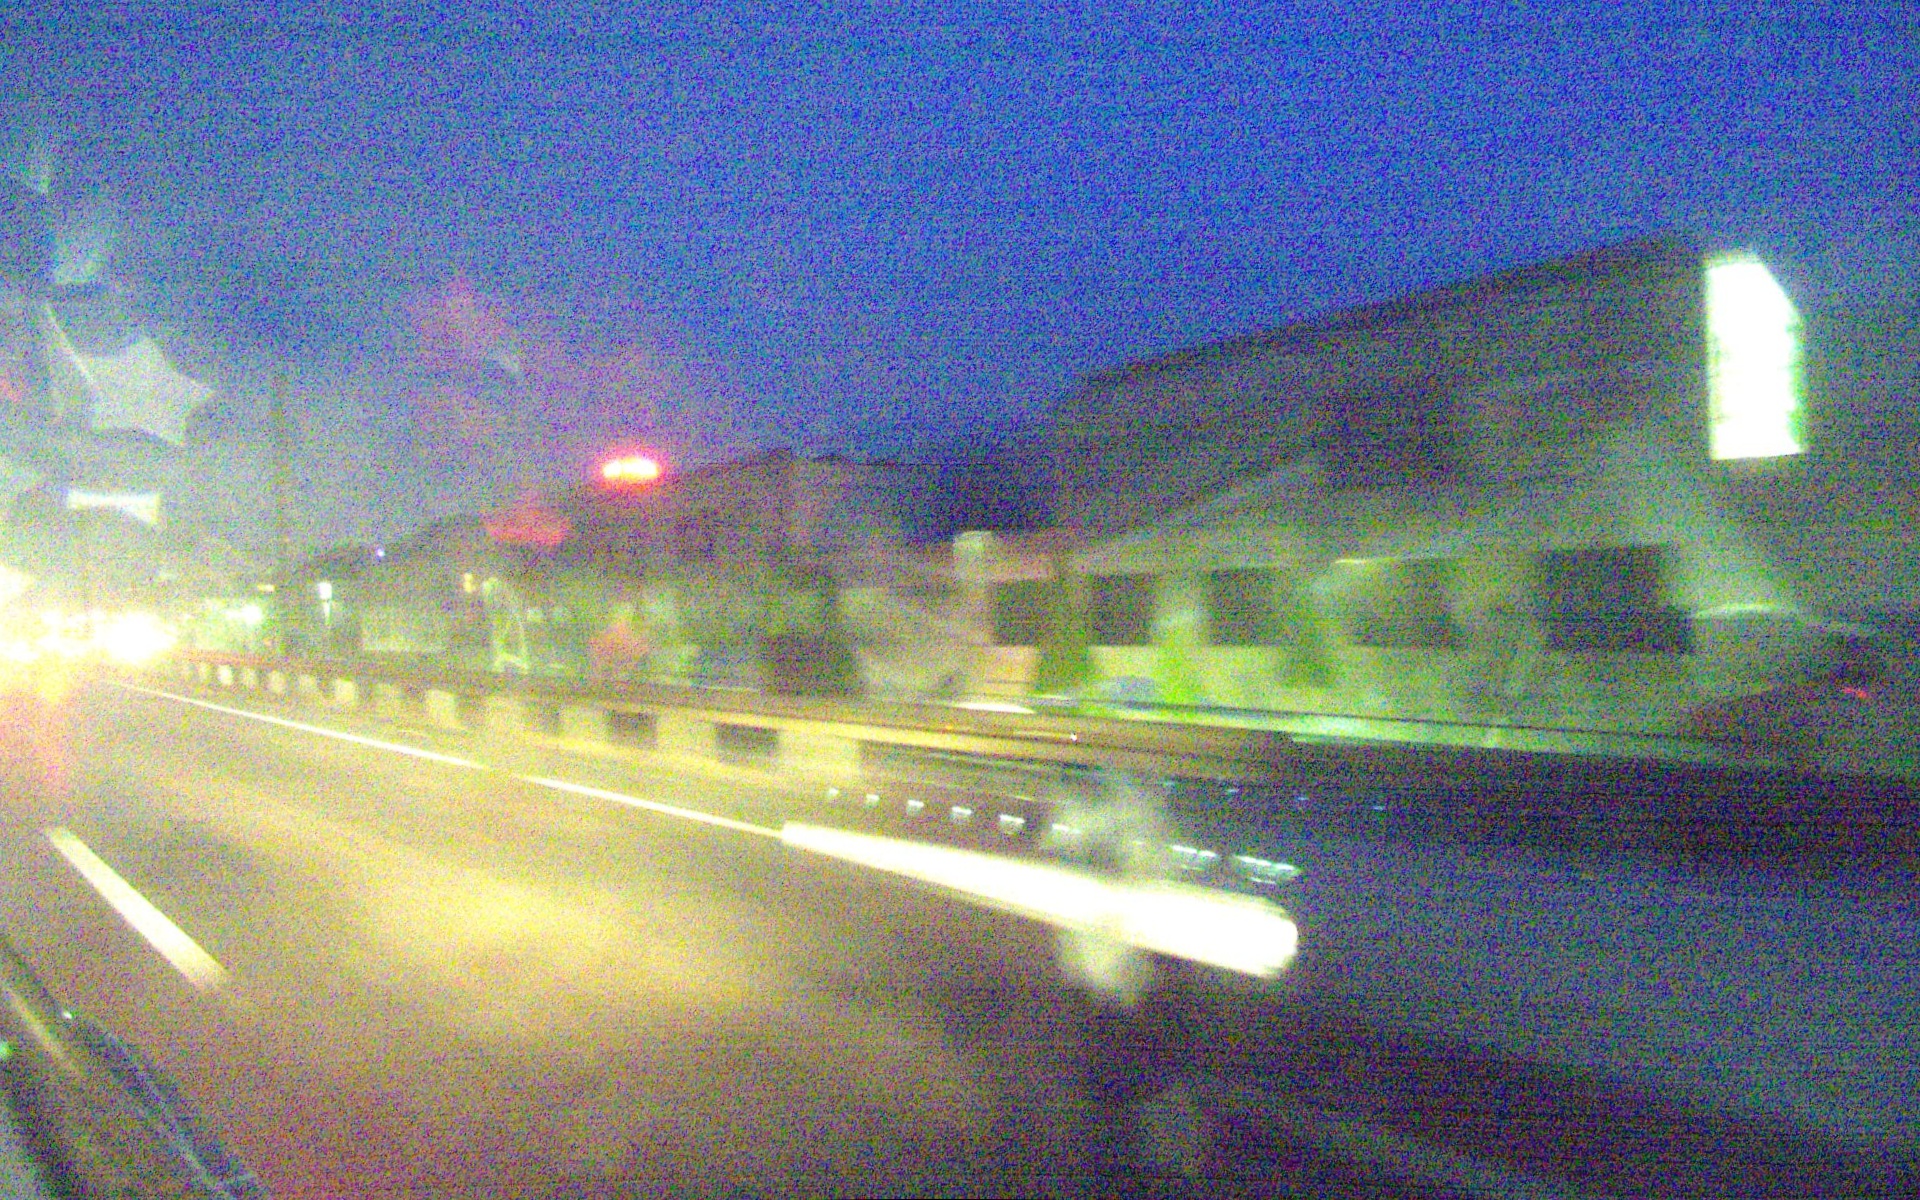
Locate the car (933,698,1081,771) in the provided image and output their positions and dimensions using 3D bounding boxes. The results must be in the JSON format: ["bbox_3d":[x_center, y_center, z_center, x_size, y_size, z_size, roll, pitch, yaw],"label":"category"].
[{"bbox_3d":[1.377,3.995,30.689,4.290,1.688,1.789,-1,0,41],"label":"car"}]

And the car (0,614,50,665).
[{"bbox_3d":[-28.134,1.129,29.724,4.064,1.428,1.693,-1,0,42],"label":"car"}]

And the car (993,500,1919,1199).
[{"bbox_3d":[2.031,0.629,2.069,3.768,1.531,1.619,-1,-2,41],"label":"car"}]

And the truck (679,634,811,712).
[{"bbox_3d":[-10.995,3.521,51.101,2.723,3.509,8.113,0,-1,-43],"label":"truck"}]
